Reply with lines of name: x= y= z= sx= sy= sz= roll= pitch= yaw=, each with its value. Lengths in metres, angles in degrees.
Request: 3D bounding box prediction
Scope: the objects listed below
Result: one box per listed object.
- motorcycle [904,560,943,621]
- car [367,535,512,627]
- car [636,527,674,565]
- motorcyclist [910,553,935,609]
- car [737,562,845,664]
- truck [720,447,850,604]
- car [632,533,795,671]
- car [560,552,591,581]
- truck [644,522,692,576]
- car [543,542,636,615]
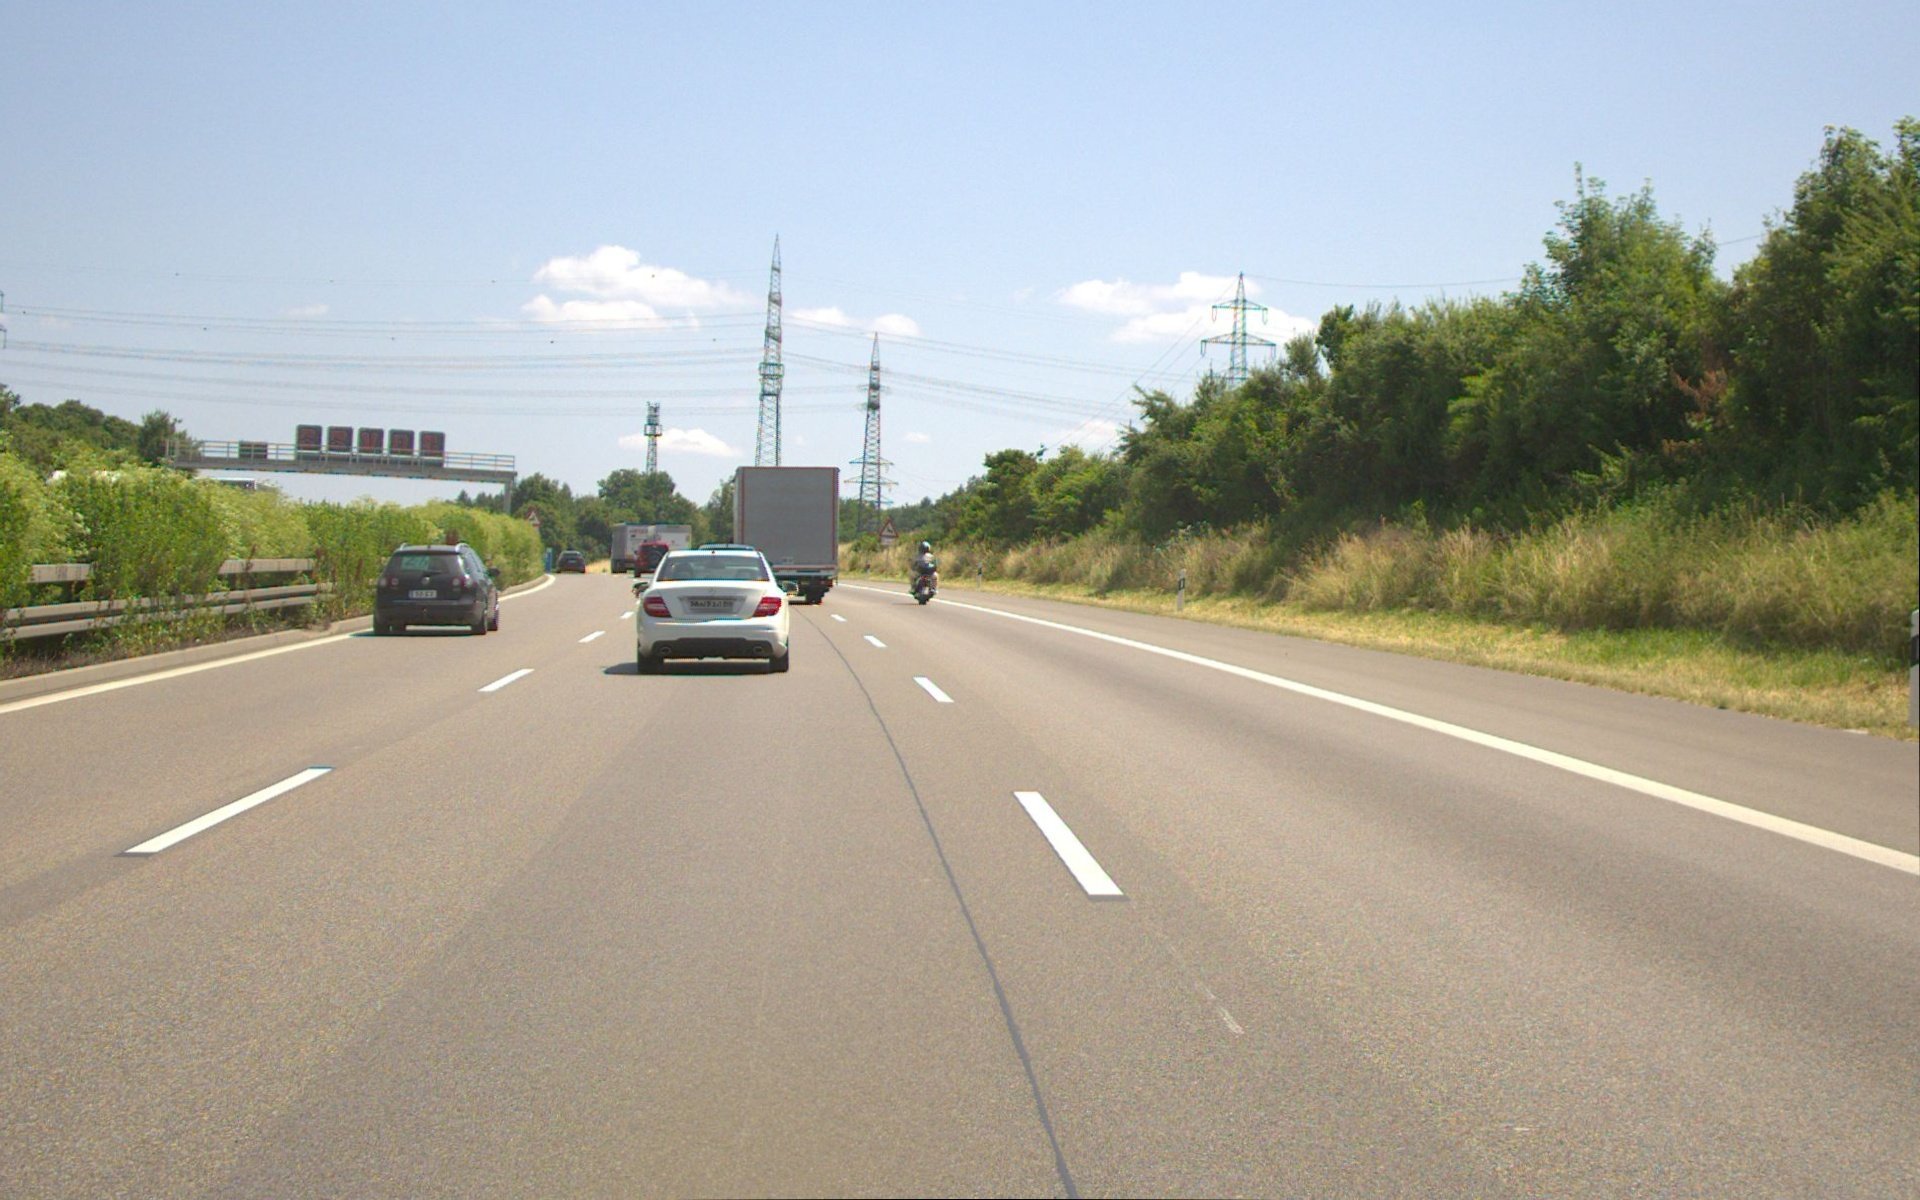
motorcycle: x=-0.971 y=-0.254 z=91.123 sx=0.809 sy=1.602 sz=1.783 roll=1 pitch=0 yaw=-7
car: x=-8.452 y=-0.339 z=56.100 sx=1.756 sy=1.424 sz=4.000 roll=0 pitch=1 yaw=0
car: x=-15.846 y=-2.820 z=178.681 sx=1.901 sy=1.919 sz=4.001 roll=0 pitch=1 yaw=-4
motorcyclist: x=-1.005 y=-0.508 z=90.968 sx=0.572 sy=1.474 sz=0.701 roll=0 pitch=1 yaw=-8
car: x=-3.549 y=0.246 z=71.711 sx=1.993 sy=2.007 sz=4.001 roll=0 pitch=1 yaw=-6
truck: x=-4.700 y=-1.929 z=91.227 sx=3.221 sy=3.911 sz=9.062 roll=1 pitch=1 yaw=-4
car: x=-2.881 y=-0.010 z=40.635 sx=1.819 sy=1.535 sz=3.915 roll=0 pitch=1 yaw=-3
car: x=-25.006 y=-2.181 z=223.546 sx=1.993 sy=1.853 sz=4.001 roll=0 pitch=1 yaw=-6
truck: x=-21.723 y=-3.799 z=255.528 sx=3.483 sy=3.899 sz=7.291 roll=1 pitch=1 yaw=-5
car: x=-8.203 y=-0.497 z=76.425 sx=1.838 sy=1.535 sz=3.915 roll=0 pitch=1 yaw=-3
